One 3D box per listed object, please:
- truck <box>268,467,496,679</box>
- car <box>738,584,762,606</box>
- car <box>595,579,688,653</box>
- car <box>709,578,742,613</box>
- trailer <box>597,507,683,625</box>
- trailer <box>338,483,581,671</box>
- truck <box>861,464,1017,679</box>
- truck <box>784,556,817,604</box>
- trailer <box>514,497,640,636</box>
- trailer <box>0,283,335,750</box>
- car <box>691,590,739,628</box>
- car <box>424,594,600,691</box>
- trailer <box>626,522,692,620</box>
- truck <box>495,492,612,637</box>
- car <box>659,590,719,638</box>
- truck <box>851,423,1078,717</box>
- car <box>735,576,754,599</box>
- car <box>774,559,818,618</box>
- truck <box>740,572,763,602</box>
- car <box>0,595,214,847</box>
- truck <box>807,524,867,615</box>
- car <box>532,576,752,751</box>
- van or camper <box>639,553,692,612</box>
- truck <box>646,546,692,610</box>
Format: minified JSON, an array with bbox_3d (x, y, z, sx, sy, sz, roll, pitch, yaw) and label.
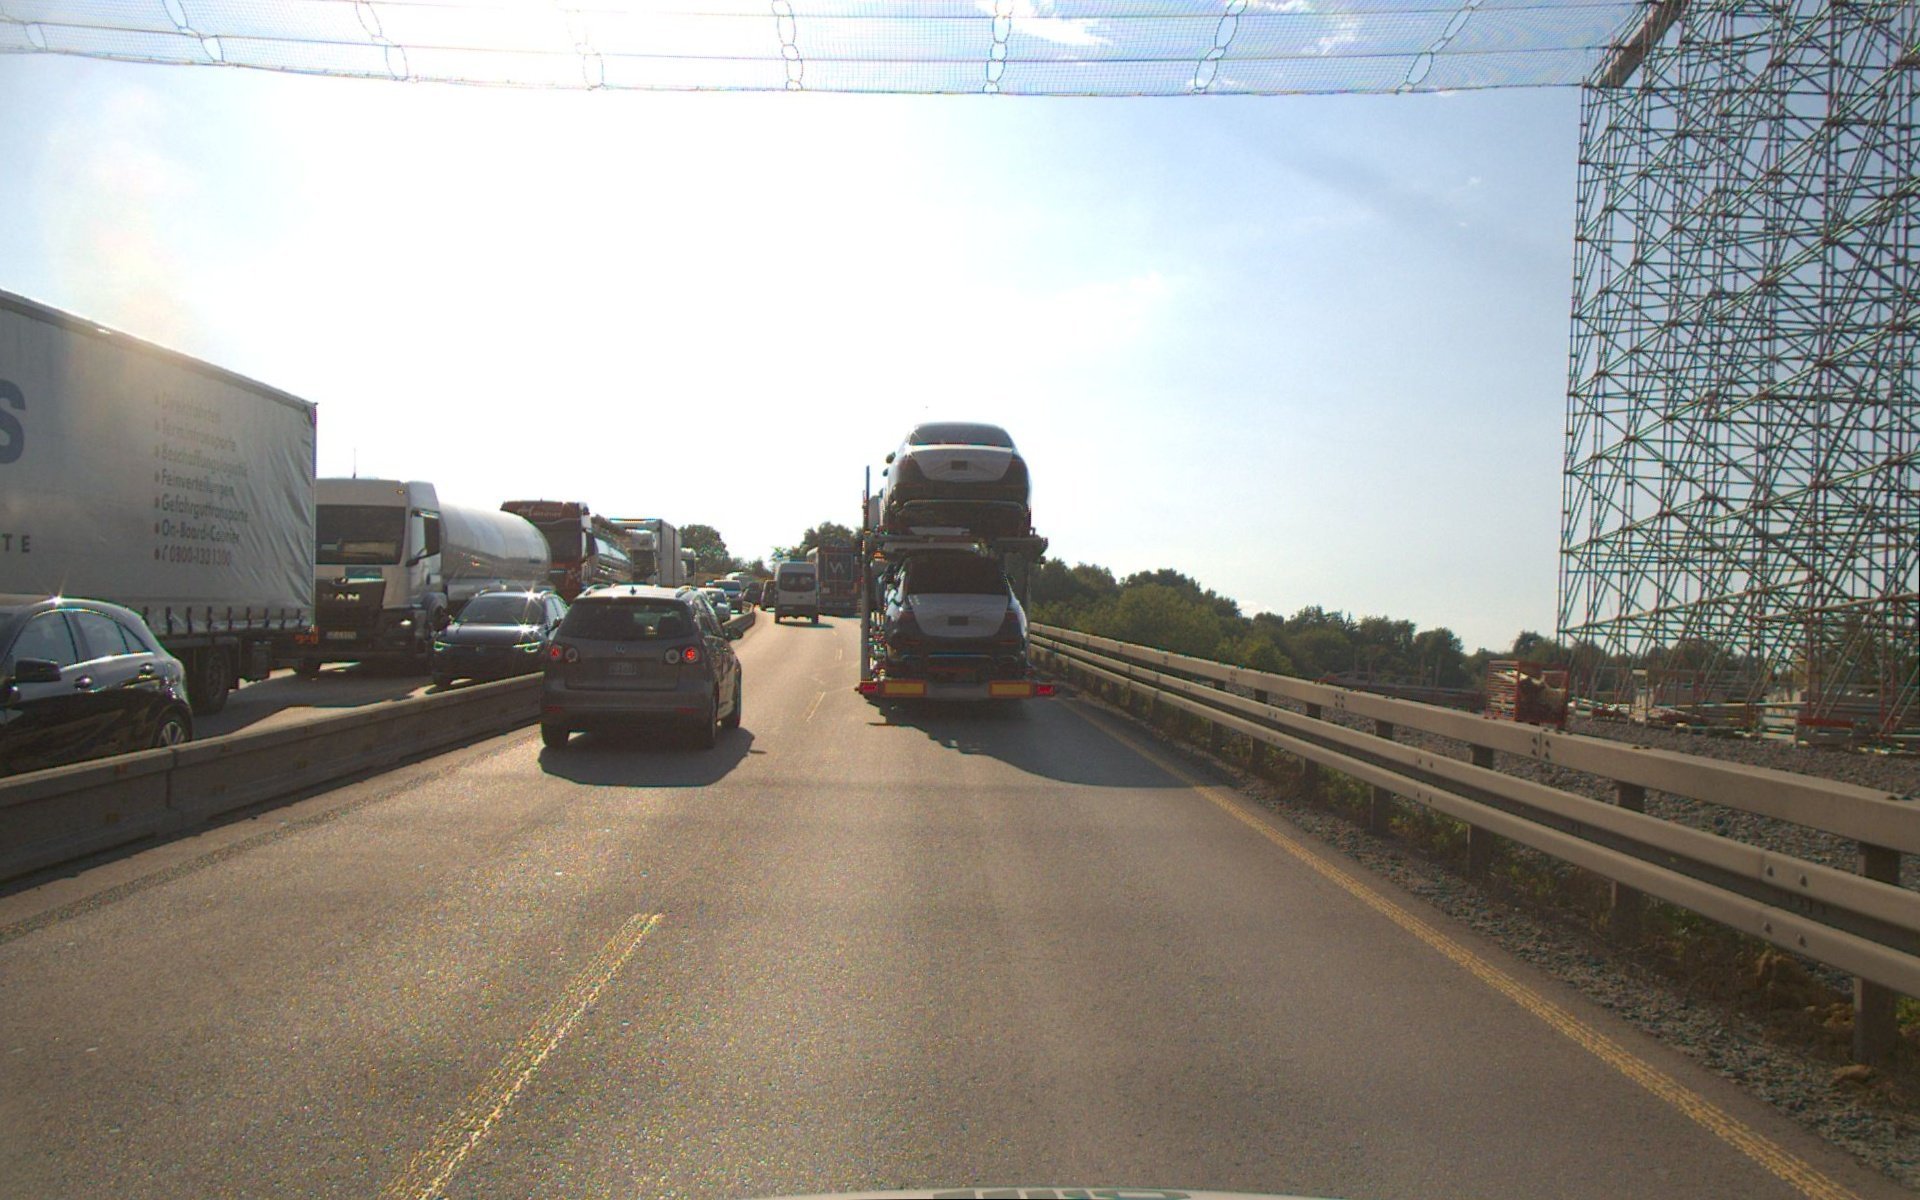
[{"bbox_3d":[-10.250,-0.438,29.910,2.366,3.429,5.614,1,0,-3],"label":"truck"},{"bbox_3d":[-17.103,-0.400,135.128,1.791,1.803,3.995,1,0,-5],"label":"car"},{"bbox_3d":[-7.379,0.360,38.676,1.717,1.614,3.938,1,0,-5],"label":"car"},{"bbox_3d":[-13.727,-0.244,96.880,1.782,1.959,4.829,1,0,-7],"label":"car"},{"bbox_3d":[-12.850,-1.266,67.190,2.428,4.404,10.498,1,0,-6],"label":"trailer"},{"bbox_3d":[-10.584,-0.422,36.475,2.261,3.420,12.045,1,0,-3],"label":"trailer"},{"bbox_3d":[-0.673,-0.504,34.980,2.782,3.858,9.979,1,0,-3],"label":"truck"},{"bbox_3d":[-12.936,-1.580,133.959,2.482,3.712,8.894,1,0,-6],"label":"truck"},{"bbox_3d":[-11.951,-0.944,52.633,2.262,3.856,12.038,1,0,-6],"label":"trailer"},{"bbox_3d":[-9.586,-0.732,16.005,2.379,4.032,14.090,1,0,-3],"label":"trailer"},{"bbox_3d":[-9.809,0.348,66.480,1.596,1.451,4.652,1,0,-5],"label":"car"},{"bbox_3d":[-7.123,0.631,26.726,1.757,1.422,4.242,1,0,-1],"label":"car"},{"bbox_3d":[-13.857,-1.276,76.636,2.396,4.262,8.531,1,0,-7],"label":"trailer"},{"bbox_3d":[-11.459,-0.942,47.021,2.385,3.851,5.611,1,0,-6],"label":"truck"},{"bbox_3d":[-8.598,0.426,52.757,1.596,1.451,4.382,1,0,-6],"label":"car"},{"bbox_3d":[-0.198,-0.363,25.570,2.743,3.558,10.599,1,0,-3],"label":"truck"},{"bbox_3d":[-19.799,-1.121,151.840,1.600,2.049,3.991,1,0,-9],"label":"car"},{"bbox_3d":[-7.328,-0.505,74.169,1.883,2.536,5.403,1,0,-5],"label":"car"},{"bbox_3d":[-23.464,-1.434,186.199,2.542,3.226,6.665,1,0,-7],"label":"truck"},{"bbox_3d":[-6.210,0.676,10.214,1.575,1.400,3.898,1,0,-3],"label":"car"},{"bbox_3d":[-7.762,-1.810,103.364,3.223,5.328,9.920,1,0,-7],"label":"truck"},{"bbox_3d":[-3.243,0.603,17.595,1.657,1.624,3.998,1,0,-2],"label":"car"},{"bbox_3d":[-15.644,-0.898,88.262,2.362,2.942,7.605,1,0,-7],"label":"van or camper"},{"bbox_3d":[-18.317,-1.350,104.352,2.552,3.820,6.505,1,0,-8],"label":"truck"}]
